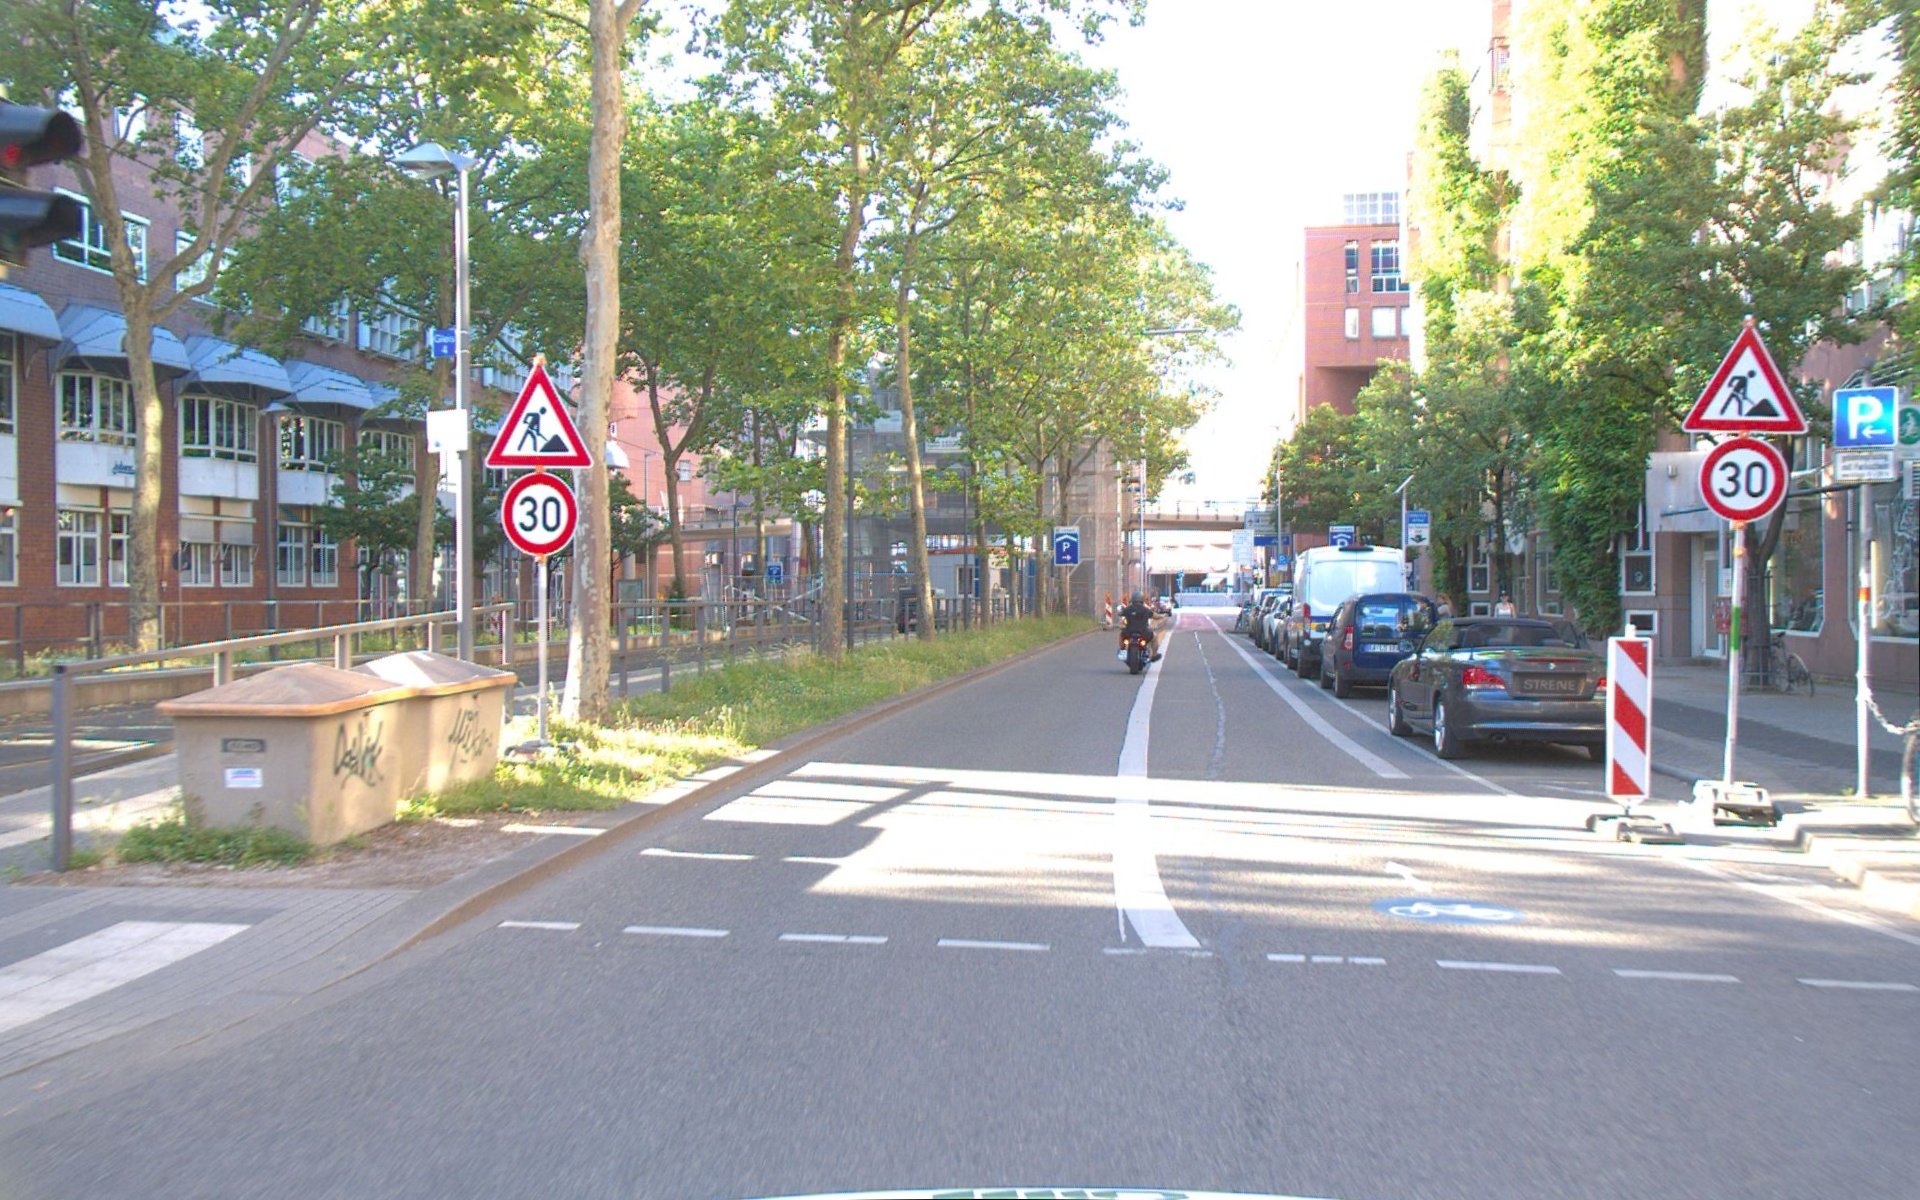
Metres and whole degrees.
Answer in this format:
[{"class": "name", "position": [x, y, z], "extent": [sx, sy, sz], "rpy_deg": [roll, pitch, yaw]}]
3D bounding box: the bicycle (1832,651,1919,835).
[{"class": "bicycle", "position": [6.159, 0.881, 9.898], "extent": [0.724, 1.071, 1.747], "rpy_deg": [0, 1, -12]}]

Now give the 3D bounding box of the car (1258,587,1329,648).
[{"class": "car", "position": [9.380, 0.473, 46.747], "extent": [1.586, 1.638, 3.777], "rpy_deg": [0, 1, 5]}]

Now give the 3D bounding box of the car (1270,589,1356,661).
[{"class": "car", "position": [8.499, 0.567, 40.061], "extent": [1.586, 1.631, 3.777], "rpy_deg": [0, 1, 5]}]

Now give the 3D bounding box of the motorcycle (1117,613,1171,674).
[{"class": "motorcycle", "position": [3.611, 0.836, 32.631], "extent": [0.996, 1.116, 2.009], "rpy_deg": [0, 1, 5]}]

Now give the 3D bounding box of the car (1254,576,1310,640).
[{"class": "car", "position": [9.923, 0.229, 51.140], "extent": [1.585, 1.898, 3.778], "rpy_deg": [0, 1, 10]}]

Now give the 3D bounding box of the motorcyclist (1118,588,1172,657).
[{"class": "motorcyclist", "position": [3.635, 0.433, 32.512], "extent": [0.990, 1.285, 0.774], "rpy_deg": [2, 1, 5]}]

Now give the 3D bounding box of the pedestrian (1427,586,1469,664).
[{"class": "pedestrian", "position": [10.533, 0.541, 35.735], "extent": [0.747, 1.673, 0.547], "rpy_deg": [0, 0, 0]}]

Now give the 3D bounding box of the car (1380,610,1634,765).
[{"class": "car", "position": [5.490, 0.804, 17.107], "extent": [1.586, 1.325, 4.315], "rpy_deg": [0, 1, 6]}]

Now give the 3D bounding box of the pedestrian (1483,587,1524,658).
[{"class": "pedestrian", "position": [11.505, 0.477, 35.011], "extent": [0.749, 1.470, 0.780], "rpy_deg": [1, 0, 22]}]

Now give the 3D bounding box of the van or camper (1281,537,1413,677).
[{"class": "van or camper", "position": [7.734, 0.105, 33.543], "extent": [2.005, 2.585, 5.778], "rpy_deg": [0, 1, 7]}]

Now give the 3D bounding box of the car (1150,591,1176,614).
[{"class": "car", "position": [15.932, 0.207, 129.719], "extent": [1.813, 1.747, 4.002], "rpy_deg": [0, 0, 4]}]

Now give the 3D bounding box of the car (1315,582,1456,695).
[{"class": "car", "position": [6.723, 0.544, 26.536], "extent": [1.586, 1.647, 4.489], "rpy_deg": [0, 1, 7]}]

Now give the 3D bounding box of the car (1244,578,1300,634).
[{"class": "car", "position": [11.868, 0.209, 63.094], "extent": [1.796, 2.049, 4.391], "rpy_deg": [0, 1, 6]}]

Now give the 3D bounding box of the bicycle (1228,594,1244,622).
[{"class": "bicycle", "position": [12.468, 0.356, 74.716], "extent": [0.649, 1.256, 2.230], "rpy_deg": [0, 1, 8]}]

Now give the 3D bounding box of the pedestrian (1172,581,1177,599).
[{"class": "pedestrian", "position": [23.356, -1.080, 180.328], "extent": [0.530, 1.914, 0.529], "rpy_deg": [0, 0, 5]}]

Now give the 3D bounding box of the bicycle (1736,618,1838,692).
[{"class": "bicycle", "position": [12.605, 0.823, 25.266], "extent": [0.605, 1.038, 1.914], "rpy_deg": [0, 1, 0]}]
